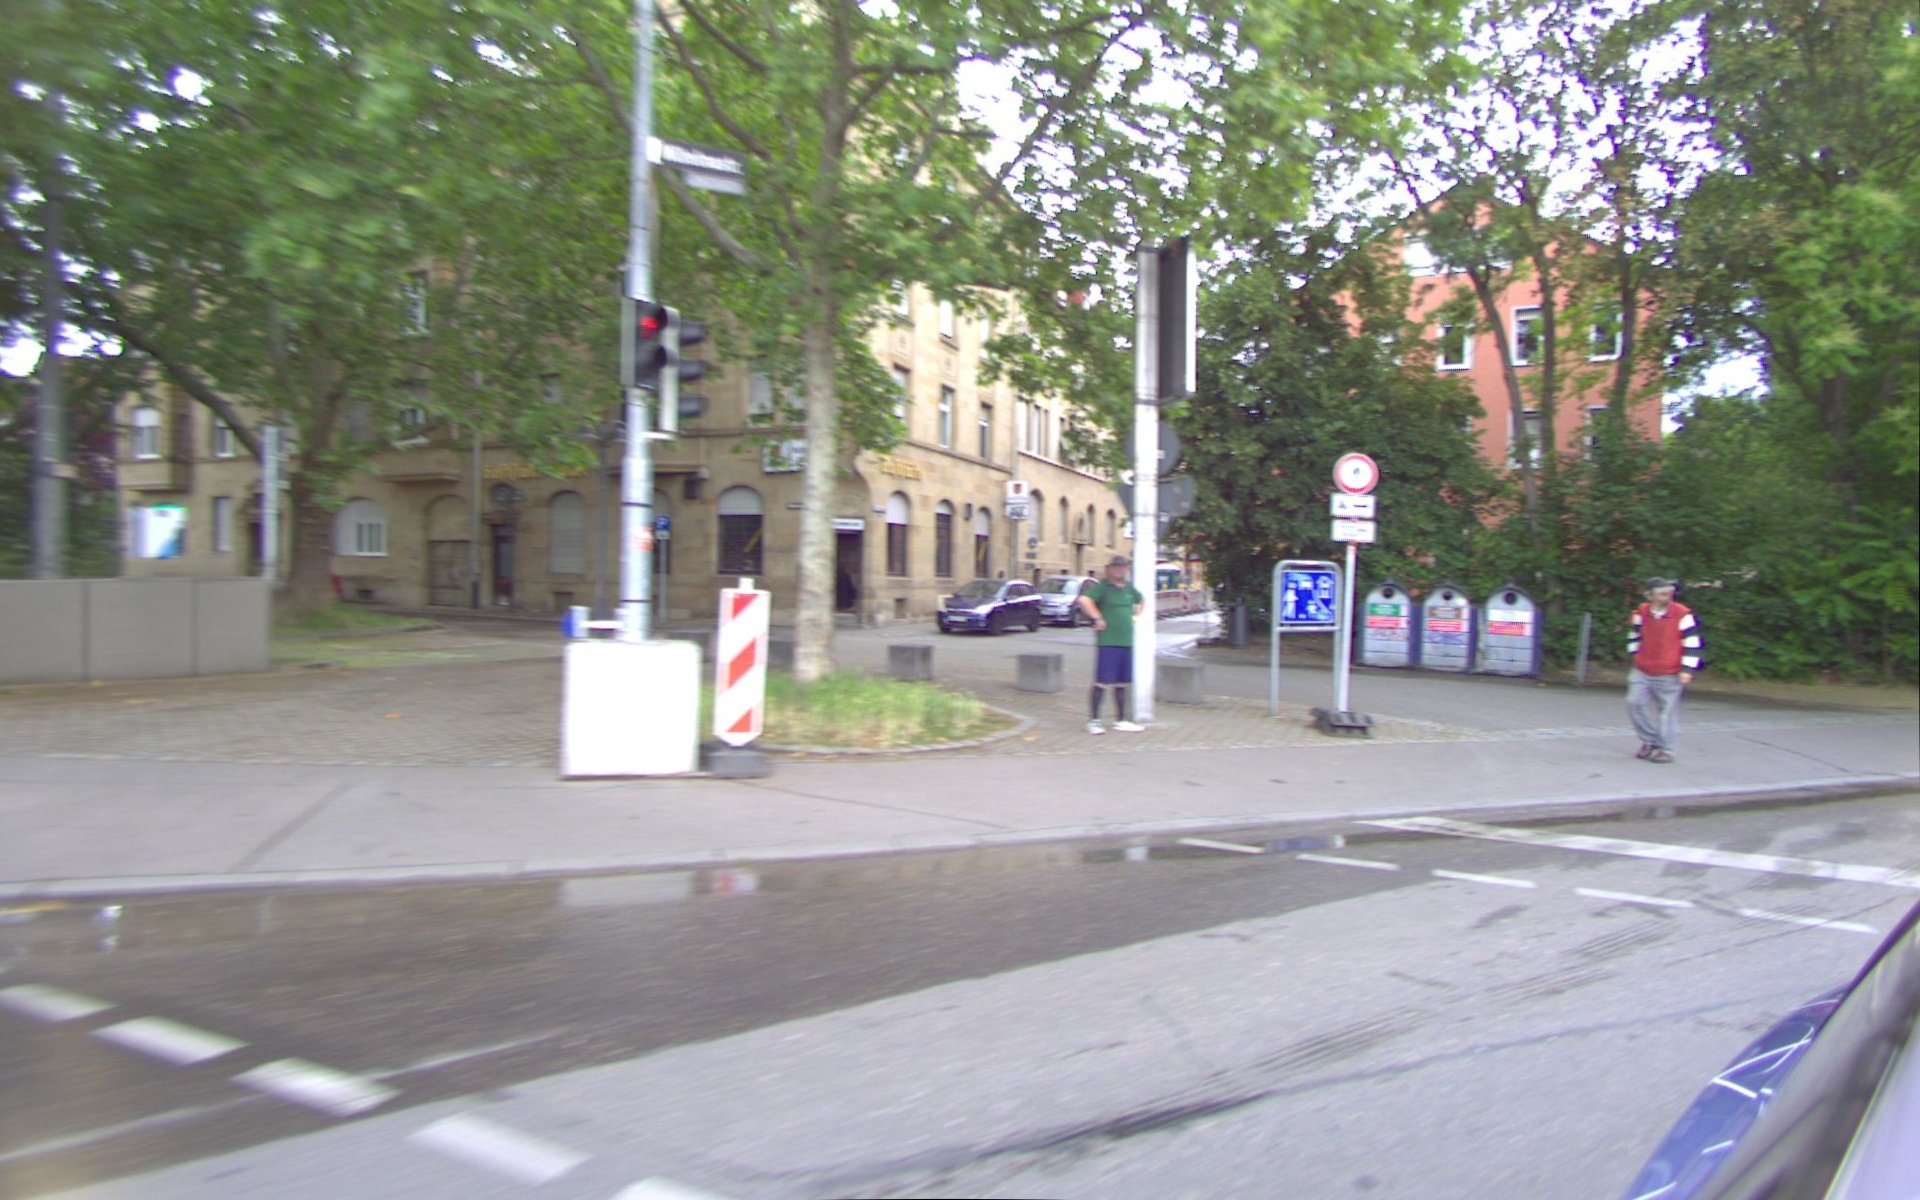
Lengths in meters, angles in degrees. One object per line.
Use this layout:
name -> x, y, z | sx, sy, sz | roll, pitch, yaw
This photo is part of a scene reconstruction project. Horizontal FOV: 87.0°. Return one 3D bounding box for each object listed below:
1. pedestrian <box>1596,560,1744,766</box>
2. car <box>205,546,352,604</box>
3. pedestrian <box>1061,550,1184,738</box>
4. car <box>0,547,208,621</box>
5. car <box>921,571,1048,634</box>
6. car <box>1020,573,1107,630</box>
pedestrian -> 6.779, 0.573, 9.693 | 0.712, 1.853, 0.784 | 2, 3, -22
car -> -22.178, -0.853, 32.924 | 4.359, 1.732, 1.985 | 2, 2, 24
pedestrian -> 1.563, 0.397, 9.804 | 0.821, 1.718, 0.734 | 2, 2, -31
car -> -17.942, -0.360, 20.270 | 1.698, 1.342, 4.479 | 2, 2, 20
car -> 0.734, 0.053, 27.332 | 1.717, 1.482, 4.048 | 4, 2, 29
car -> 3.384, -0.002, 32.547 | 1.604, 1.609, 3.968 | 2, 3, 24
